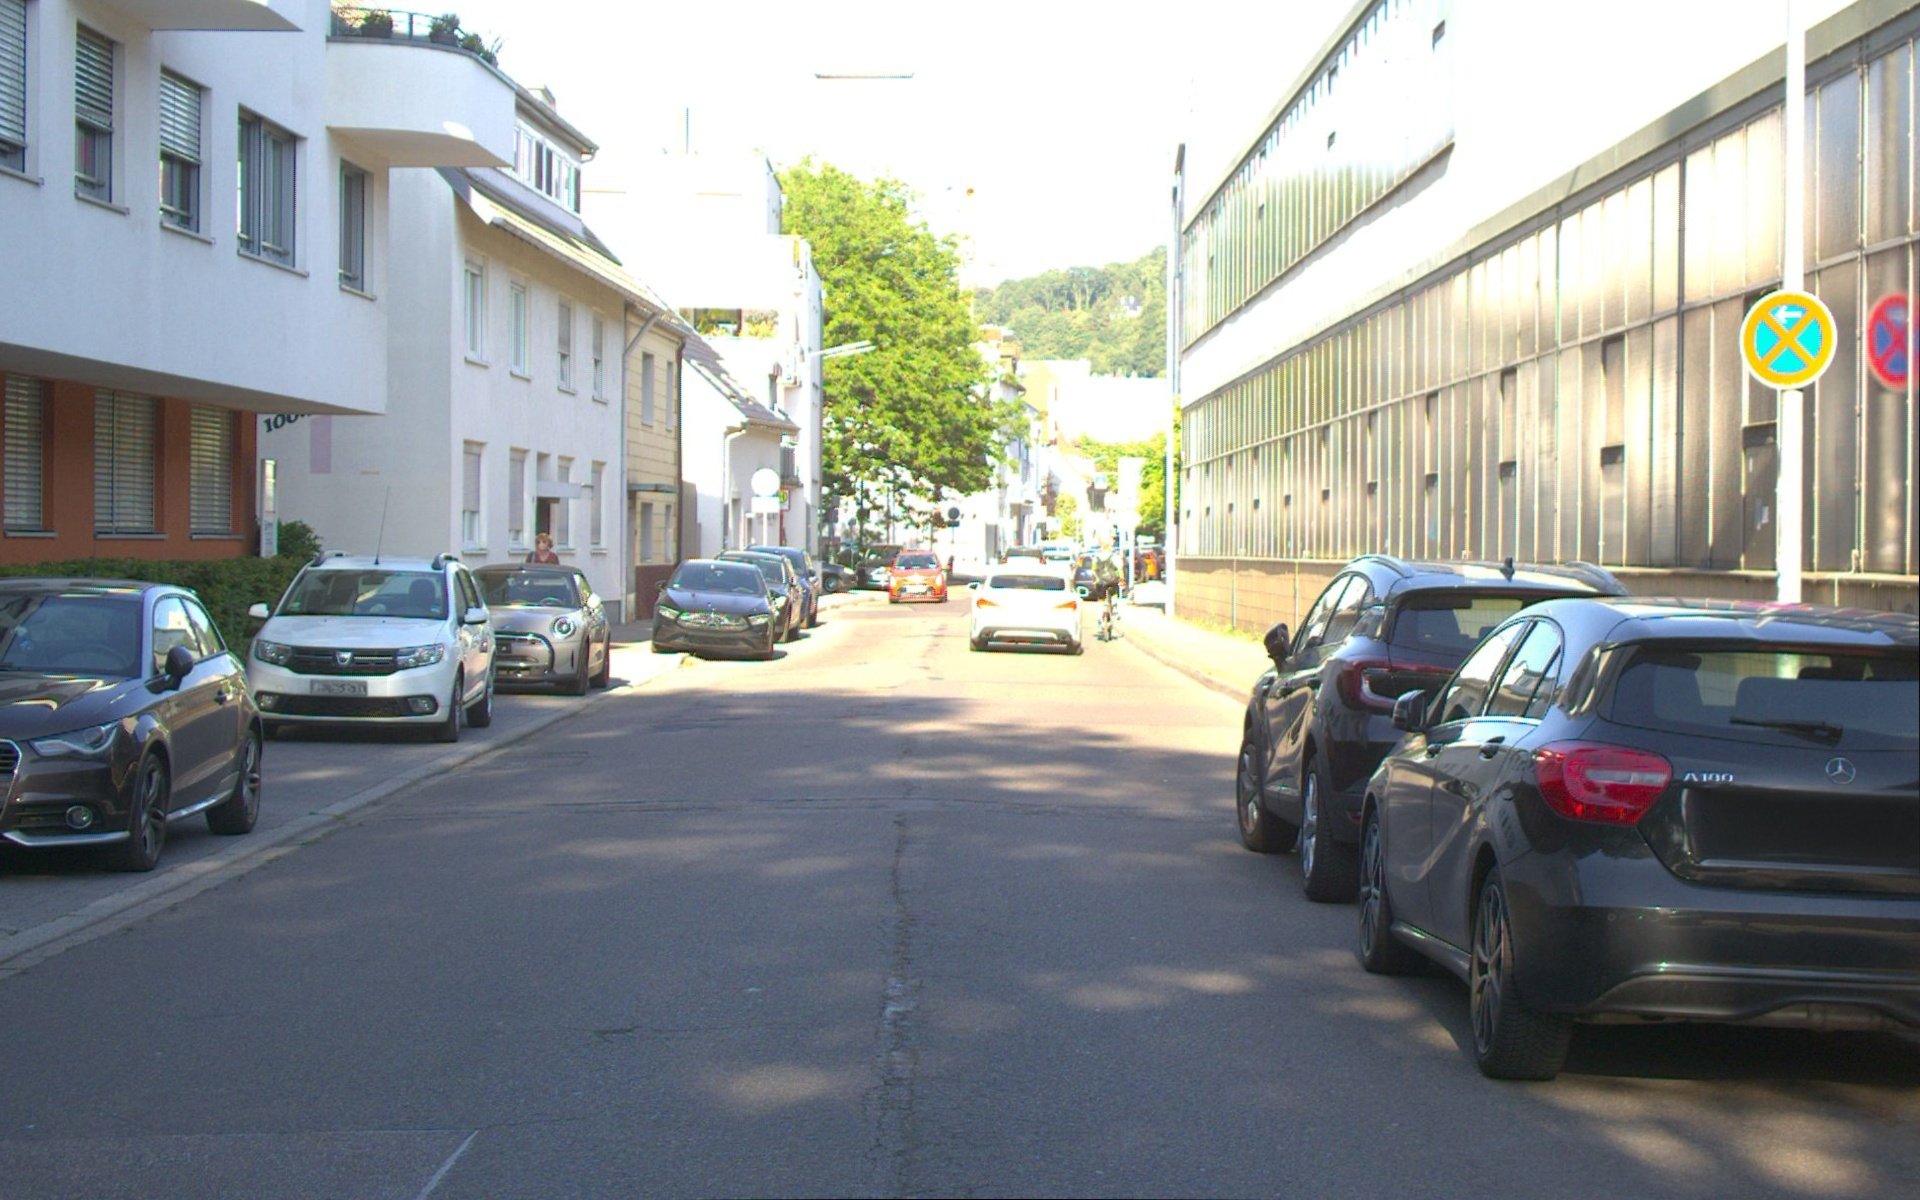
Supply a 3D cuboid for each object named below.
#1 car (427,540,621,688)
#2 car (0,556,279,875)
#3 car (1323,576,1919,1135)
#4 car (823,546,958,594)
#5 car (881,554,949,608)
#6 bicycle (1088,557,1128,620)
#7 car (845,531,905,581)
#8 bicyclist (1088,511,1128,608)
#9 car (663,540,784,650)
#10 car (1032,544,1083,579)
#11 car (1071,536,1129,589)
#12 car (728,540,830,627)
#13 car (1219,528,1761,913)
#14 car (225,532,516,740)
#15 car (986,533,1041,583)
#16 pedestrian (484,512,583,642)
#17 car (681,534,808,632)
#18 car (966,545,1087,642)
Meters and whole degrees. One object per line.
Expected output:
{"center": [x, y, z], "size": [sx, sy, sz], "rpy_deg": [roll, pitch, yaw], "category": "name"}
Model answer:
{"center": [-4.900, 0.132, 39.040], "size": [1.667, 1.530, 3.857], "rpy_deg": [2, 0, 0], "category": "car"}
{"center": [-4.726, 0.510, 17.762], "size": [1.674, 1.428, 3.771], "rpy_deg": [2, 0, -1], "category": "car"}
{"center": [2.382, 0.697, 11.741], "size": [1.750, 1.486, 4.621], "rpy_deg": [2, 0, 0], "category": "car"}
{"center": [-2.255, -0.977, 111.612], "size": [4.132, 1.486, 1.847], "rpy_deg": [1, 0, 8], "category": "car"}
{"center": [-1.257, -0.549, 98.117], "size": [1.842, 1.486, 4.144], "rpy_deg": [1, 0, 0], "category": "car"}
{"center": [2.743, -0.219, 64.056], "size": [0.698, 1.126, 2.402], "rpy_deg": [1, 0, 2], "category": "bicycle"}
{"center": [-3.096, -1.623, 125.756], "size": [1.853, 1.785, 4.607], "rpy_deg": [1, 1, 2], "category": "car"}
{"center": [2.754, -0.746, 64.029], "size": [0.698, 1.784, 1.040], "rpy_deg": [1, 0, 2], "category": "bicyclist"}
{"center": [-3.536, -0.090, 51.885], "size": [1.684, 1.530, 4.335], "rpy_deg": [2, 0, -3], "category": "car"}
{"center": [4.257, -1.666, 149.066], "size": [1.842, 1.486, 4.143], "rpy_deg": [1, 0, 6], "category": "car"}
{"center": [4.410, -1.196, 108.663], "size": [1.629, 1.581, 4.069], "rpy_deg": [-2, 1, 0], "category": "car"}
{"center": [-3.720, -0.364, 71.162], "size": [1.809, 1.581, 4.193], "rpy_deg": [2, 2, 0], "category": "car"}
{"center": [2.437, 0.498, 16.925], "size": [1.807, 1.581, 4.405], "rpy_deg": [2, 0, -2], "category": "car"}
{"center": [-4.984, 0.266, 29.656], "size": [1.857, 1.581, 4.622], "rpy_deg": [2, 0, -3], "category": "car"}
{"center": [1.985, -1.598, 128.496], "size": [1.853, 1.785, 4.608], "rpy_deg": [1, 1, -1], "category": "car"}
{"center": [-6.190, -0.337, 49.948], "size": [0.862, 1.812, 1.130], "rpy_deg": [4, 2, 24], "category": "pedestrian"}
{"center": [-3.842, -0.341, 61.924], "size": [1.858, 1.581, 4.336], "rpy_deg": [2, 2, 1], "category": "car"}
{"center": [1.042, -0.120, 55.626], "size": [1.842, 1.486, 4.144], "rpy_deg": [1, 0, 0], "category": "car"}
